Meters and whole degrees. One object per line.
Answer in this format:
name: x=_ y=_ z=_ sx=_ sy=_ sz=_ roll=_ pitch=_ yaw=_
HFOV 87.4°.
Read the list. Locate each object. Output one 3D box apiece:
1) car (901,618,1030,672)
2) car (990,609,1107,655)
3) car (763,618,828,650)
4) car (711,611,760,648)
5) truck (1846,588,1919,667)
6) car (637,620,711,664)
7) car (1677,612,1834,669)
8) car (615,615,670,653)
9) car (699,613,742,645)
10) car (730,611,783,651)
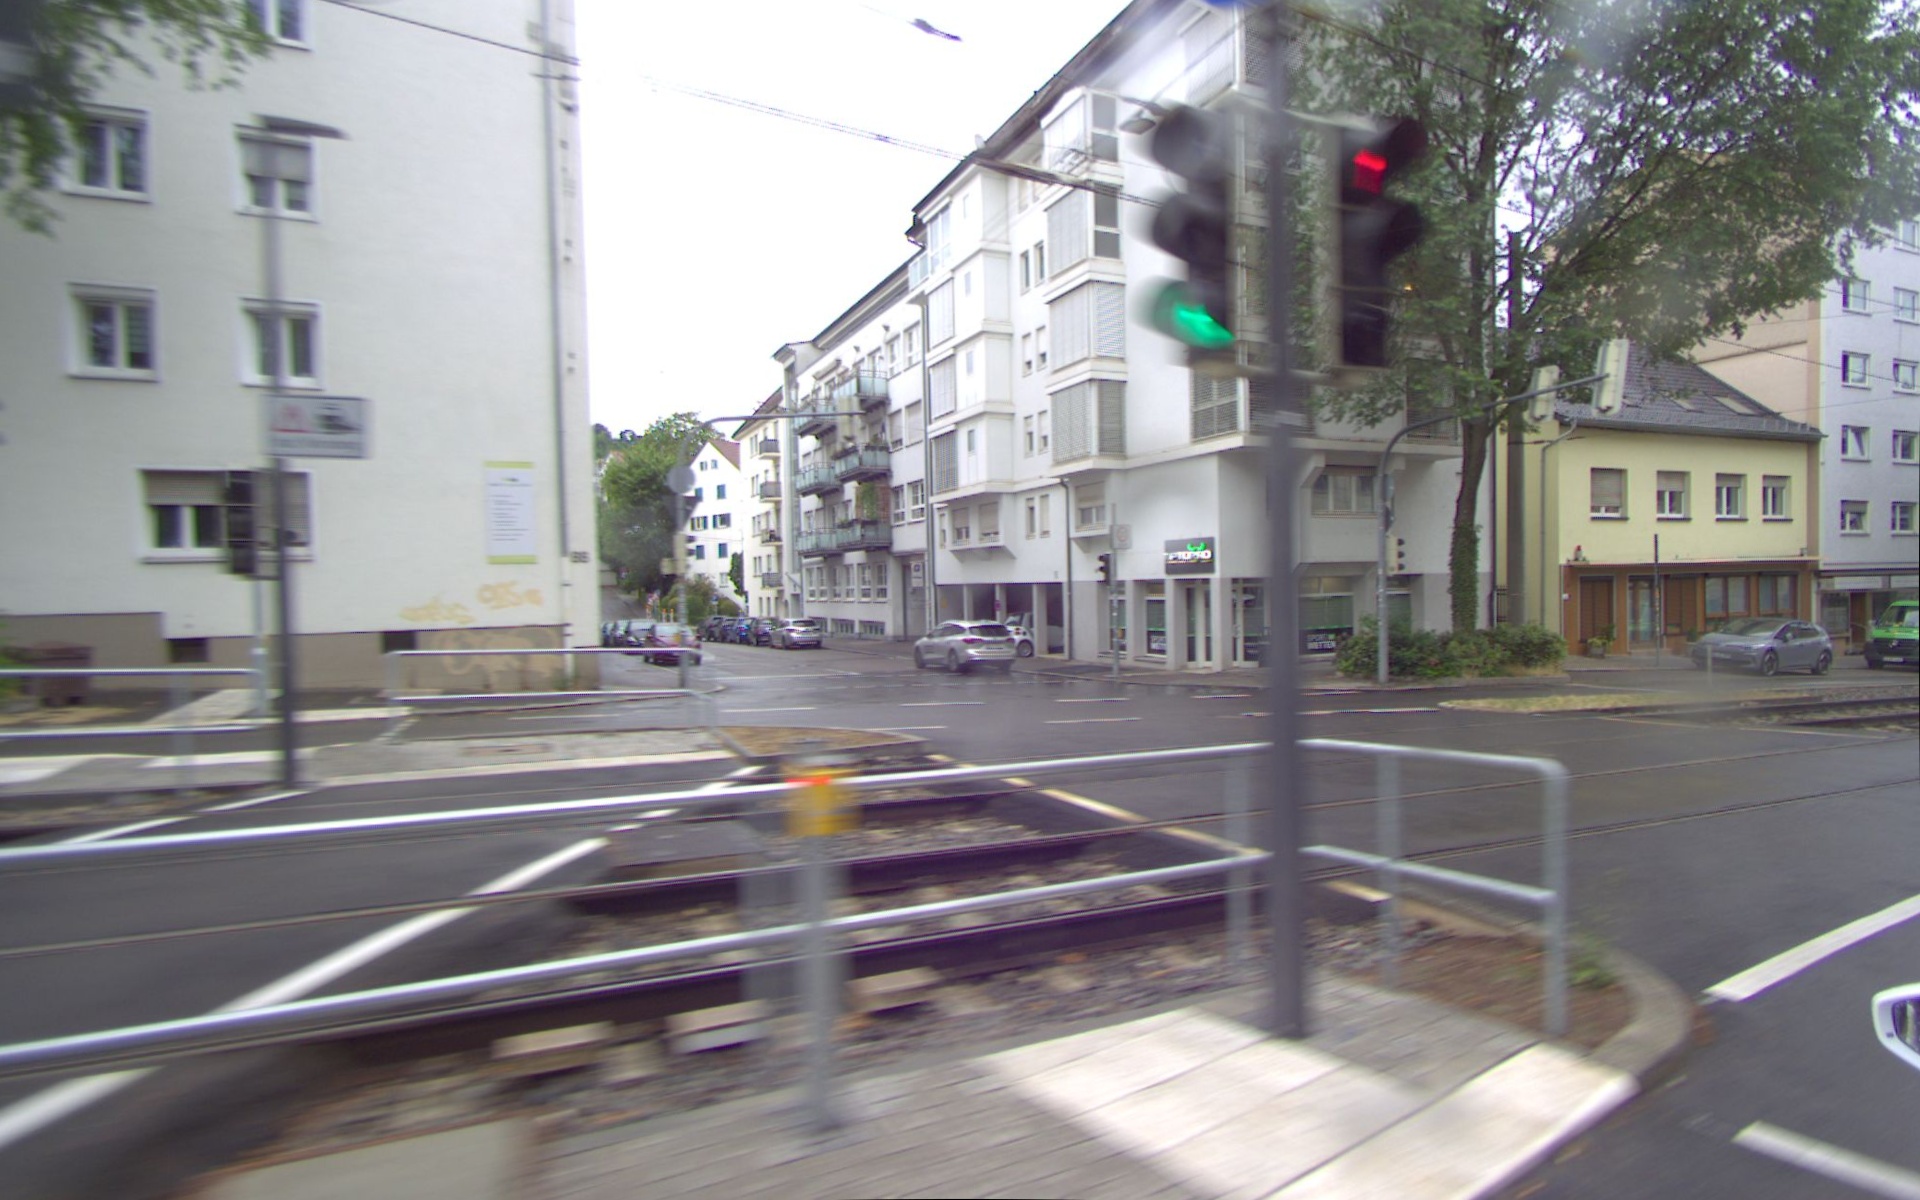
car: x=0.059 y=1.291 z=29.962 sx=1.974 sy=1.492 sz=4.699 roll=1 pitch=-2 yaw=-26
car: x=3.164 y=1.137 z=35.855 sx=3.953 sy=1.555 sz=1.692 roll=1 pitch=-2 yaw=-30
car: x=-7.891 y=1.597 z=47.911 sx=1.972 sy=1.472 sz=4.702 roll=1 pitch=-2 yaw=-24
car: x=-12.988 y=1.685 z=57.910 sx=1.845 sy=2.040 sz=4.961 roll=1 pitch=-2 yaw=-24
truck: x=32.064 y=0.924 z=32.885 sx=6.229 sy=2.424 sz=2.047 roll=1 pitch=-1 yaw=-22
car: x=-10.560 y=1.499 z=36.832 sx=1.972 sy=1.521 sz=4.702 roll=1 pitch=-2 yaw=-24
car: x=22.879 y=1.122 z=28.872 sx=4.433 sy=1.535 sz=1.721 roll=1 pitch=-1 yaw=-24
car: x=-14.964 y=1.577 z=47.140 sx=1.972 sy=1.643 sz=4.702 roll=1 pitch=-2 yaw=-24
car: x=-15.813 y=1.897 z=66.235 sx=1.955 sy=2.040 sz=4.427 roll=1 pitch=-2 yaw=-24
car: x=-10.846 y=1.628 z=53.284 sx=1.845 sy=2.040 sz=4.427 roll=1 pitch=-2 yaw=-24
